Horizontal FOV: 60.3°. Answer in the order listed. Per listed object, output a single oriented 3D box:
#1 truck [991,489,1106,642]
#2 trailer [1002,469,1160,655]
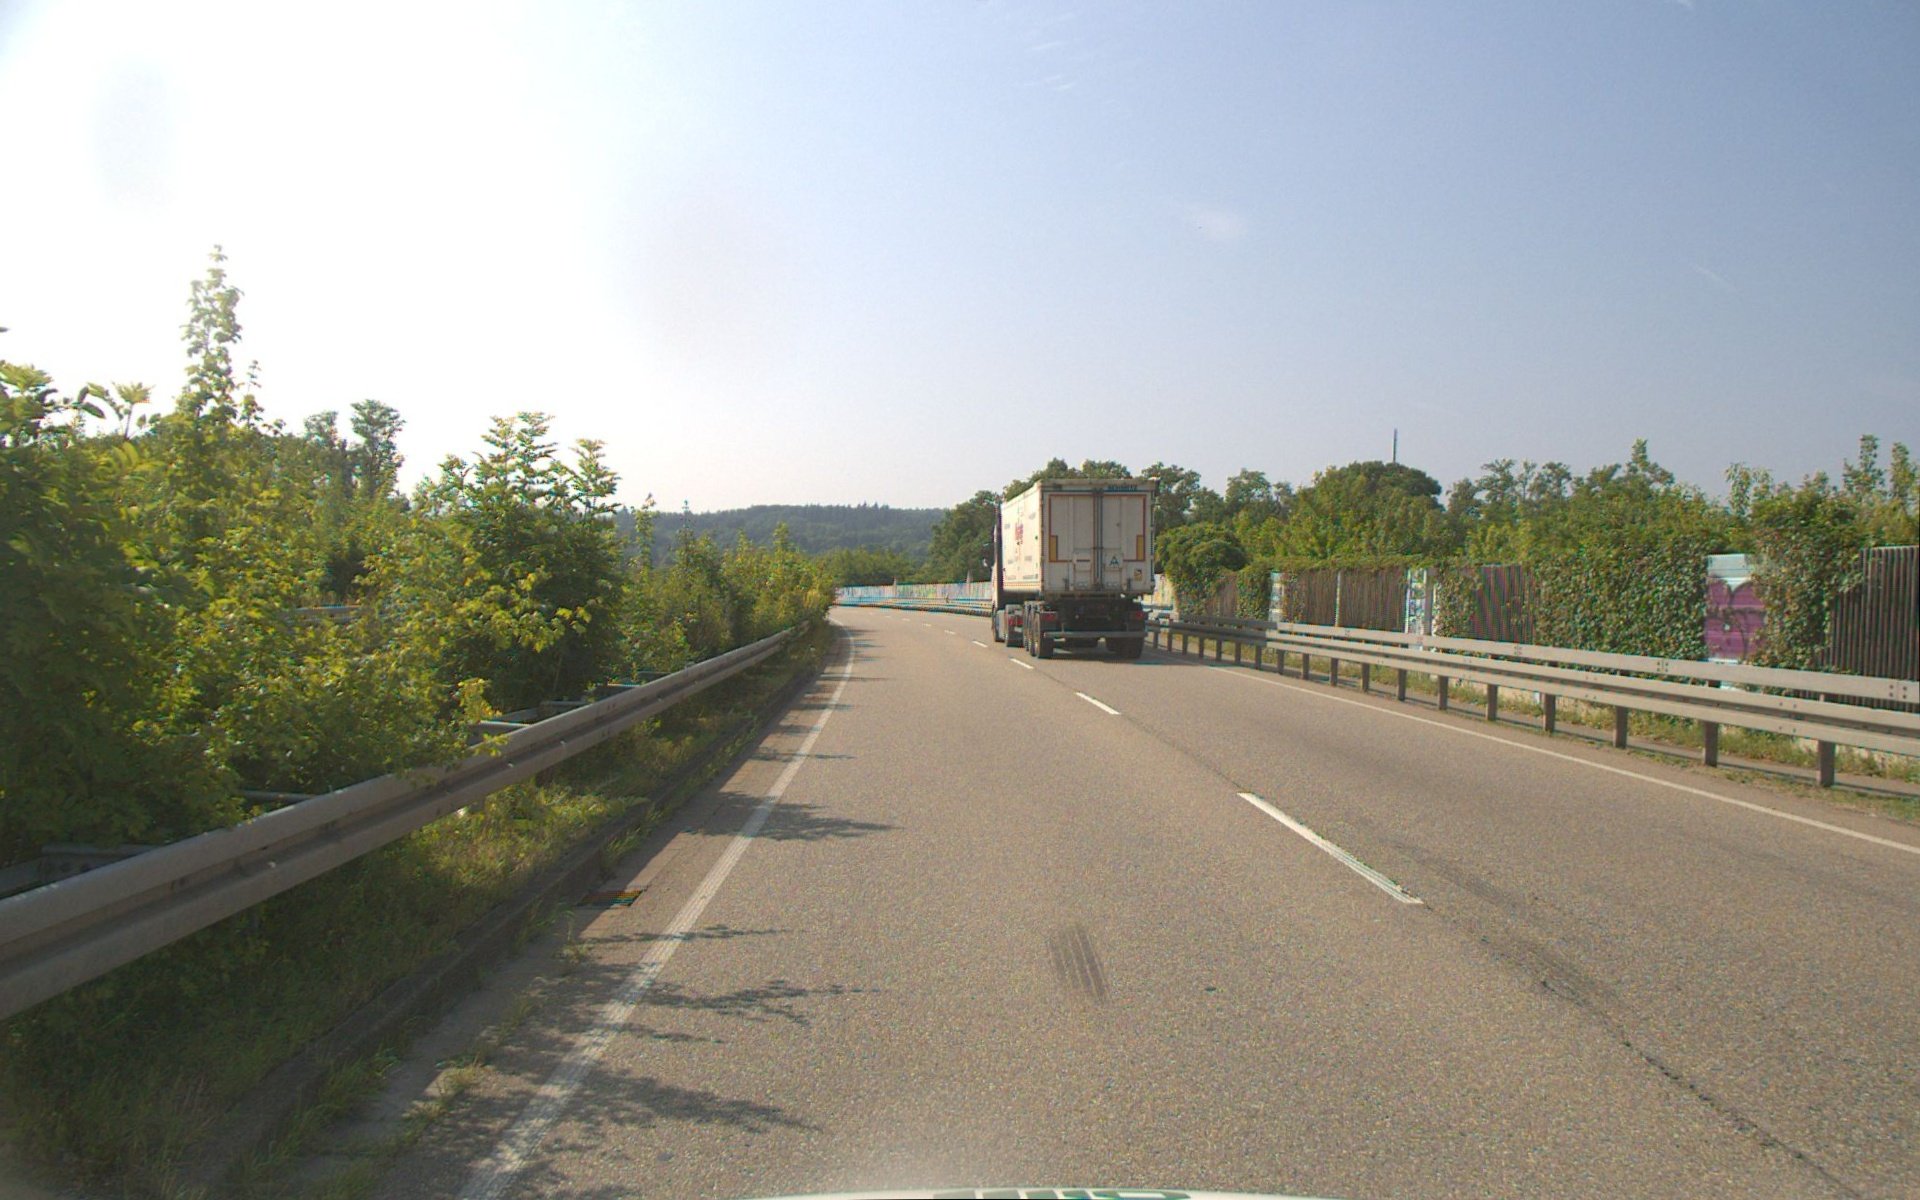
[{"bbox_3d":[2.367,-0.930,46.063,2.606,3.964,5.645,0,0,-3],"label":"truck"},{"bbox_3d":[2.708,-0.864,40.151,2.626,3.975,9.667,0,1,-3],"label":"trailer"}]
